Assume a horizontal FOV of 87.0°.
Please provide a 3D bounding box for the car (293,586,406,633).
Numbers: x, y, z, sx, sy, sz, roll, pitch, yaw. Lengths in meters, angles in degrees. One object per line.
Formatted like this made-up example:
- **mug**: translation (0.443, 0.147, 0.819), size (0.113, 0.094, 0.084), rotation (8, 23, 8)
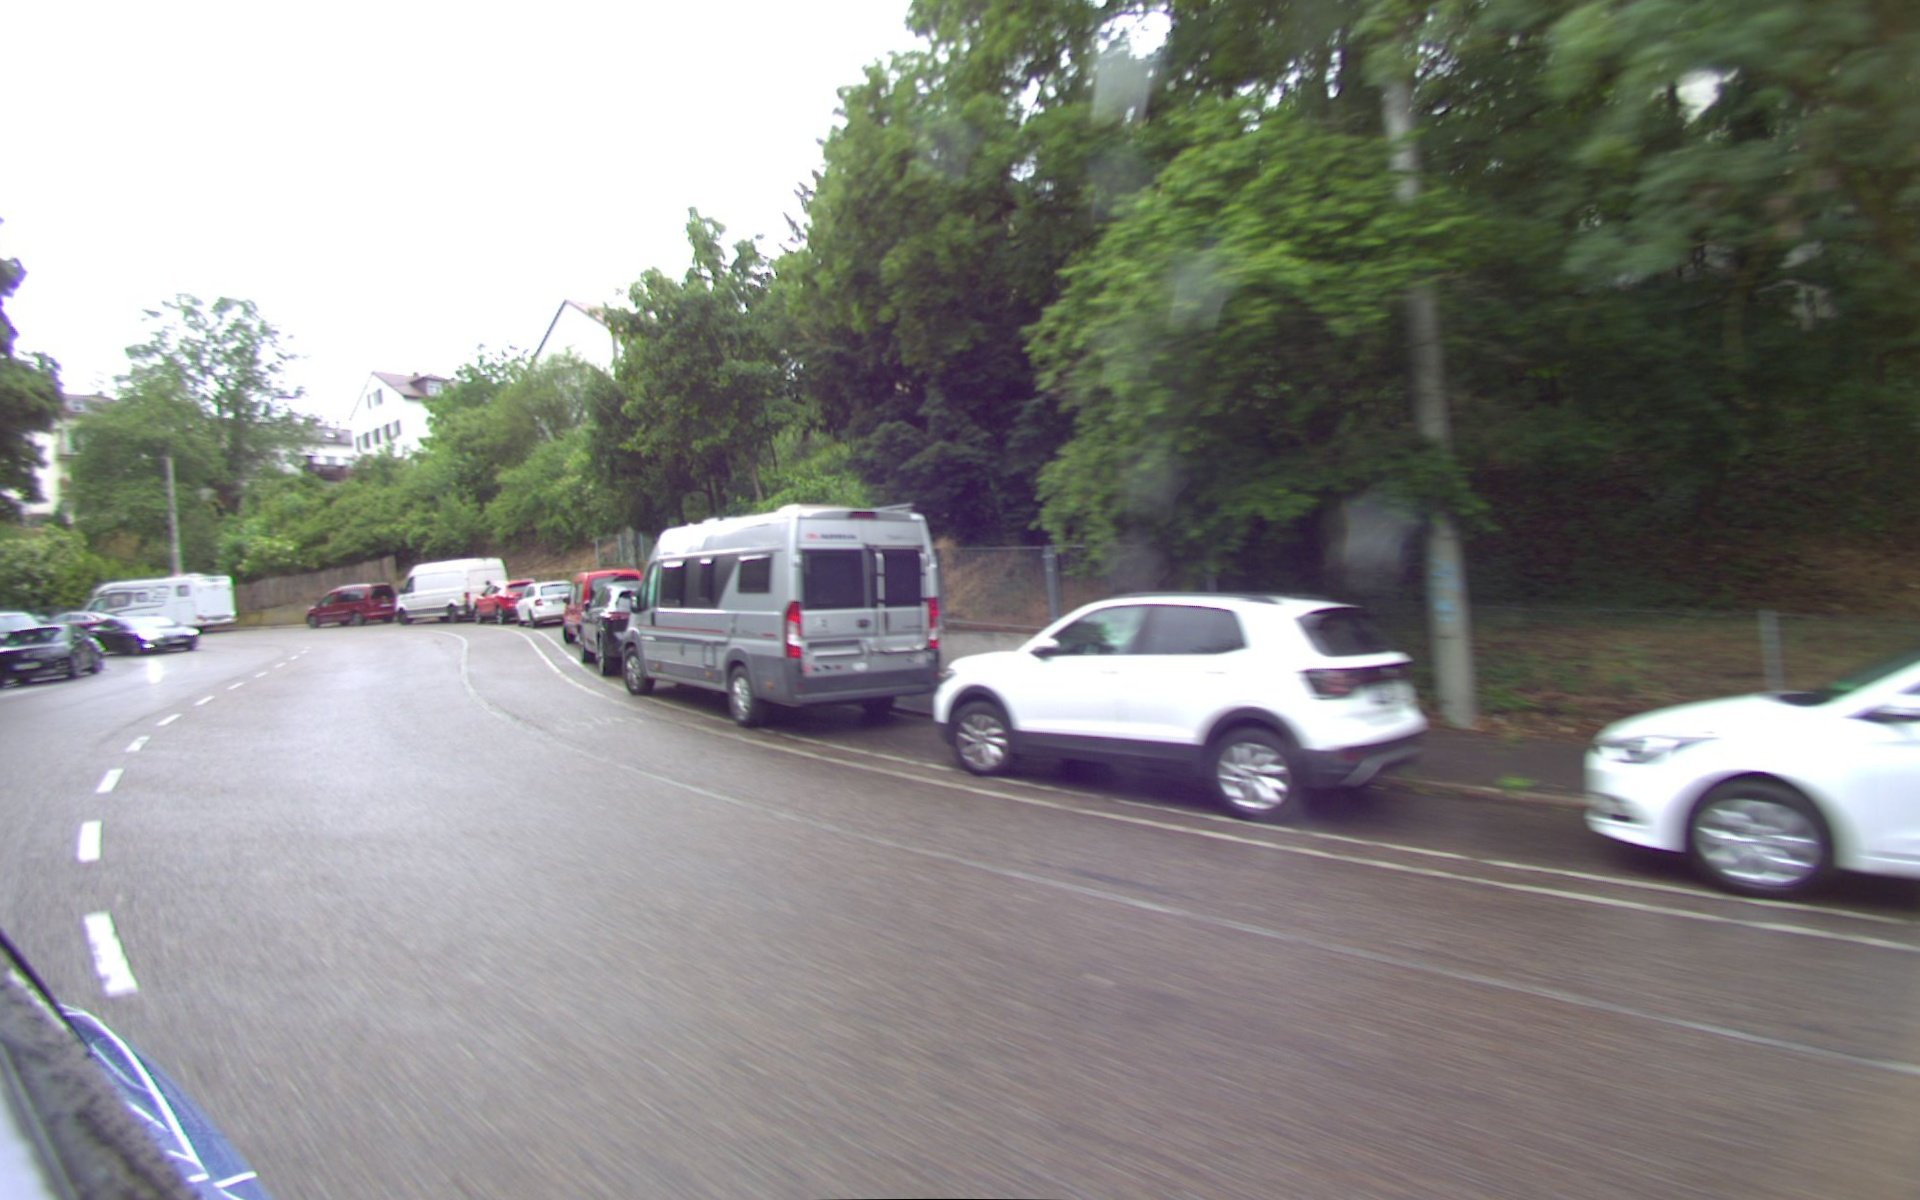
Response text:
- **car**: translation (-29.059, 0.440, 48.200), size (4.787, 1.889, 1.987), rotation (-3, 3, 21)

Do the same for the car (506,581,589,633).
- **car**: translation (-14.165, 0.232, 34.609), size (1.715, 1.489, 4.210), rotation (-7, 3, -33)

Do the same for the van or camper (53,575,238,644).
- **van or camper**: translation (-40.742, 0.456, 50.721), size (7.430, 2.989, 2.456), rotation (-3, 2, 5)

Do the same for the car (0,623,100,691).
- **car**: translation (-24.790, 1.494, 27.364), size (1.605, 1.499, 3.756), rotation (-7, 3, -31)

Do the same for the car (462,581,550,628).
- **car**: translation (-17.591, 0.196, 39.088), size (1.754, 1.597, 4.439), rotation (-6, 3, -42)

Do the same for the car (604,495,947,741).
- **car**: translation (-2.841, 0.125, 13.753), size (2.046, 2.569, 6.363), rotation (0, 1, -36)

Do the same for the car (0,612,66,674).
- **car**: translation (-34.002, 1.516, 35.402), size (5.003, 1.900, 1.986), rotation (-2, 4, 23)

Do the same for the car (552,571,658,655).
- **car**: translation (-8.695, 0.225, 24.579), size (1.726, 1.781, 4.150), rotation (-4, 3, -28)

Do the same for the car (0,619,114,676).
- **car**: translation (-29.033, 1.531, 32.409), size (4.867, 1.498, 1.884), rotation (-3, 4, 38)

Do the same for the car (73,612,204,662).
- **car**: translation (-30.586, 1.368, 37.687), size (4.473, 1.550, 1.886), rotation (-2, 4, 24)

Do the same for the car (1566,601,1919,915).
- **car**: translation (5.501, 0.734, 5.026), size (4.044, 1.467, 1.734), rotation (-1, -1, 40)

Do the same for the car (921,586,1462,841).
- **car**: translation (1.722, 0.697, 8.354), size (4.025, 1.595, 1.784), rotation (0, 0, 43)

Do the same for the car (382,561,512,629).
- **car**: translation (-22.183, -0.181, 43.616), size (6.811, 2.549, 2.017), rotation (-2, 3, 37)

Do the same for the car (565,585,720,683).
- **car**: translation (-6.212, 0.544, 19.457), size (1.966, 1.631, 4.411), rotation (0, 1, -29)
